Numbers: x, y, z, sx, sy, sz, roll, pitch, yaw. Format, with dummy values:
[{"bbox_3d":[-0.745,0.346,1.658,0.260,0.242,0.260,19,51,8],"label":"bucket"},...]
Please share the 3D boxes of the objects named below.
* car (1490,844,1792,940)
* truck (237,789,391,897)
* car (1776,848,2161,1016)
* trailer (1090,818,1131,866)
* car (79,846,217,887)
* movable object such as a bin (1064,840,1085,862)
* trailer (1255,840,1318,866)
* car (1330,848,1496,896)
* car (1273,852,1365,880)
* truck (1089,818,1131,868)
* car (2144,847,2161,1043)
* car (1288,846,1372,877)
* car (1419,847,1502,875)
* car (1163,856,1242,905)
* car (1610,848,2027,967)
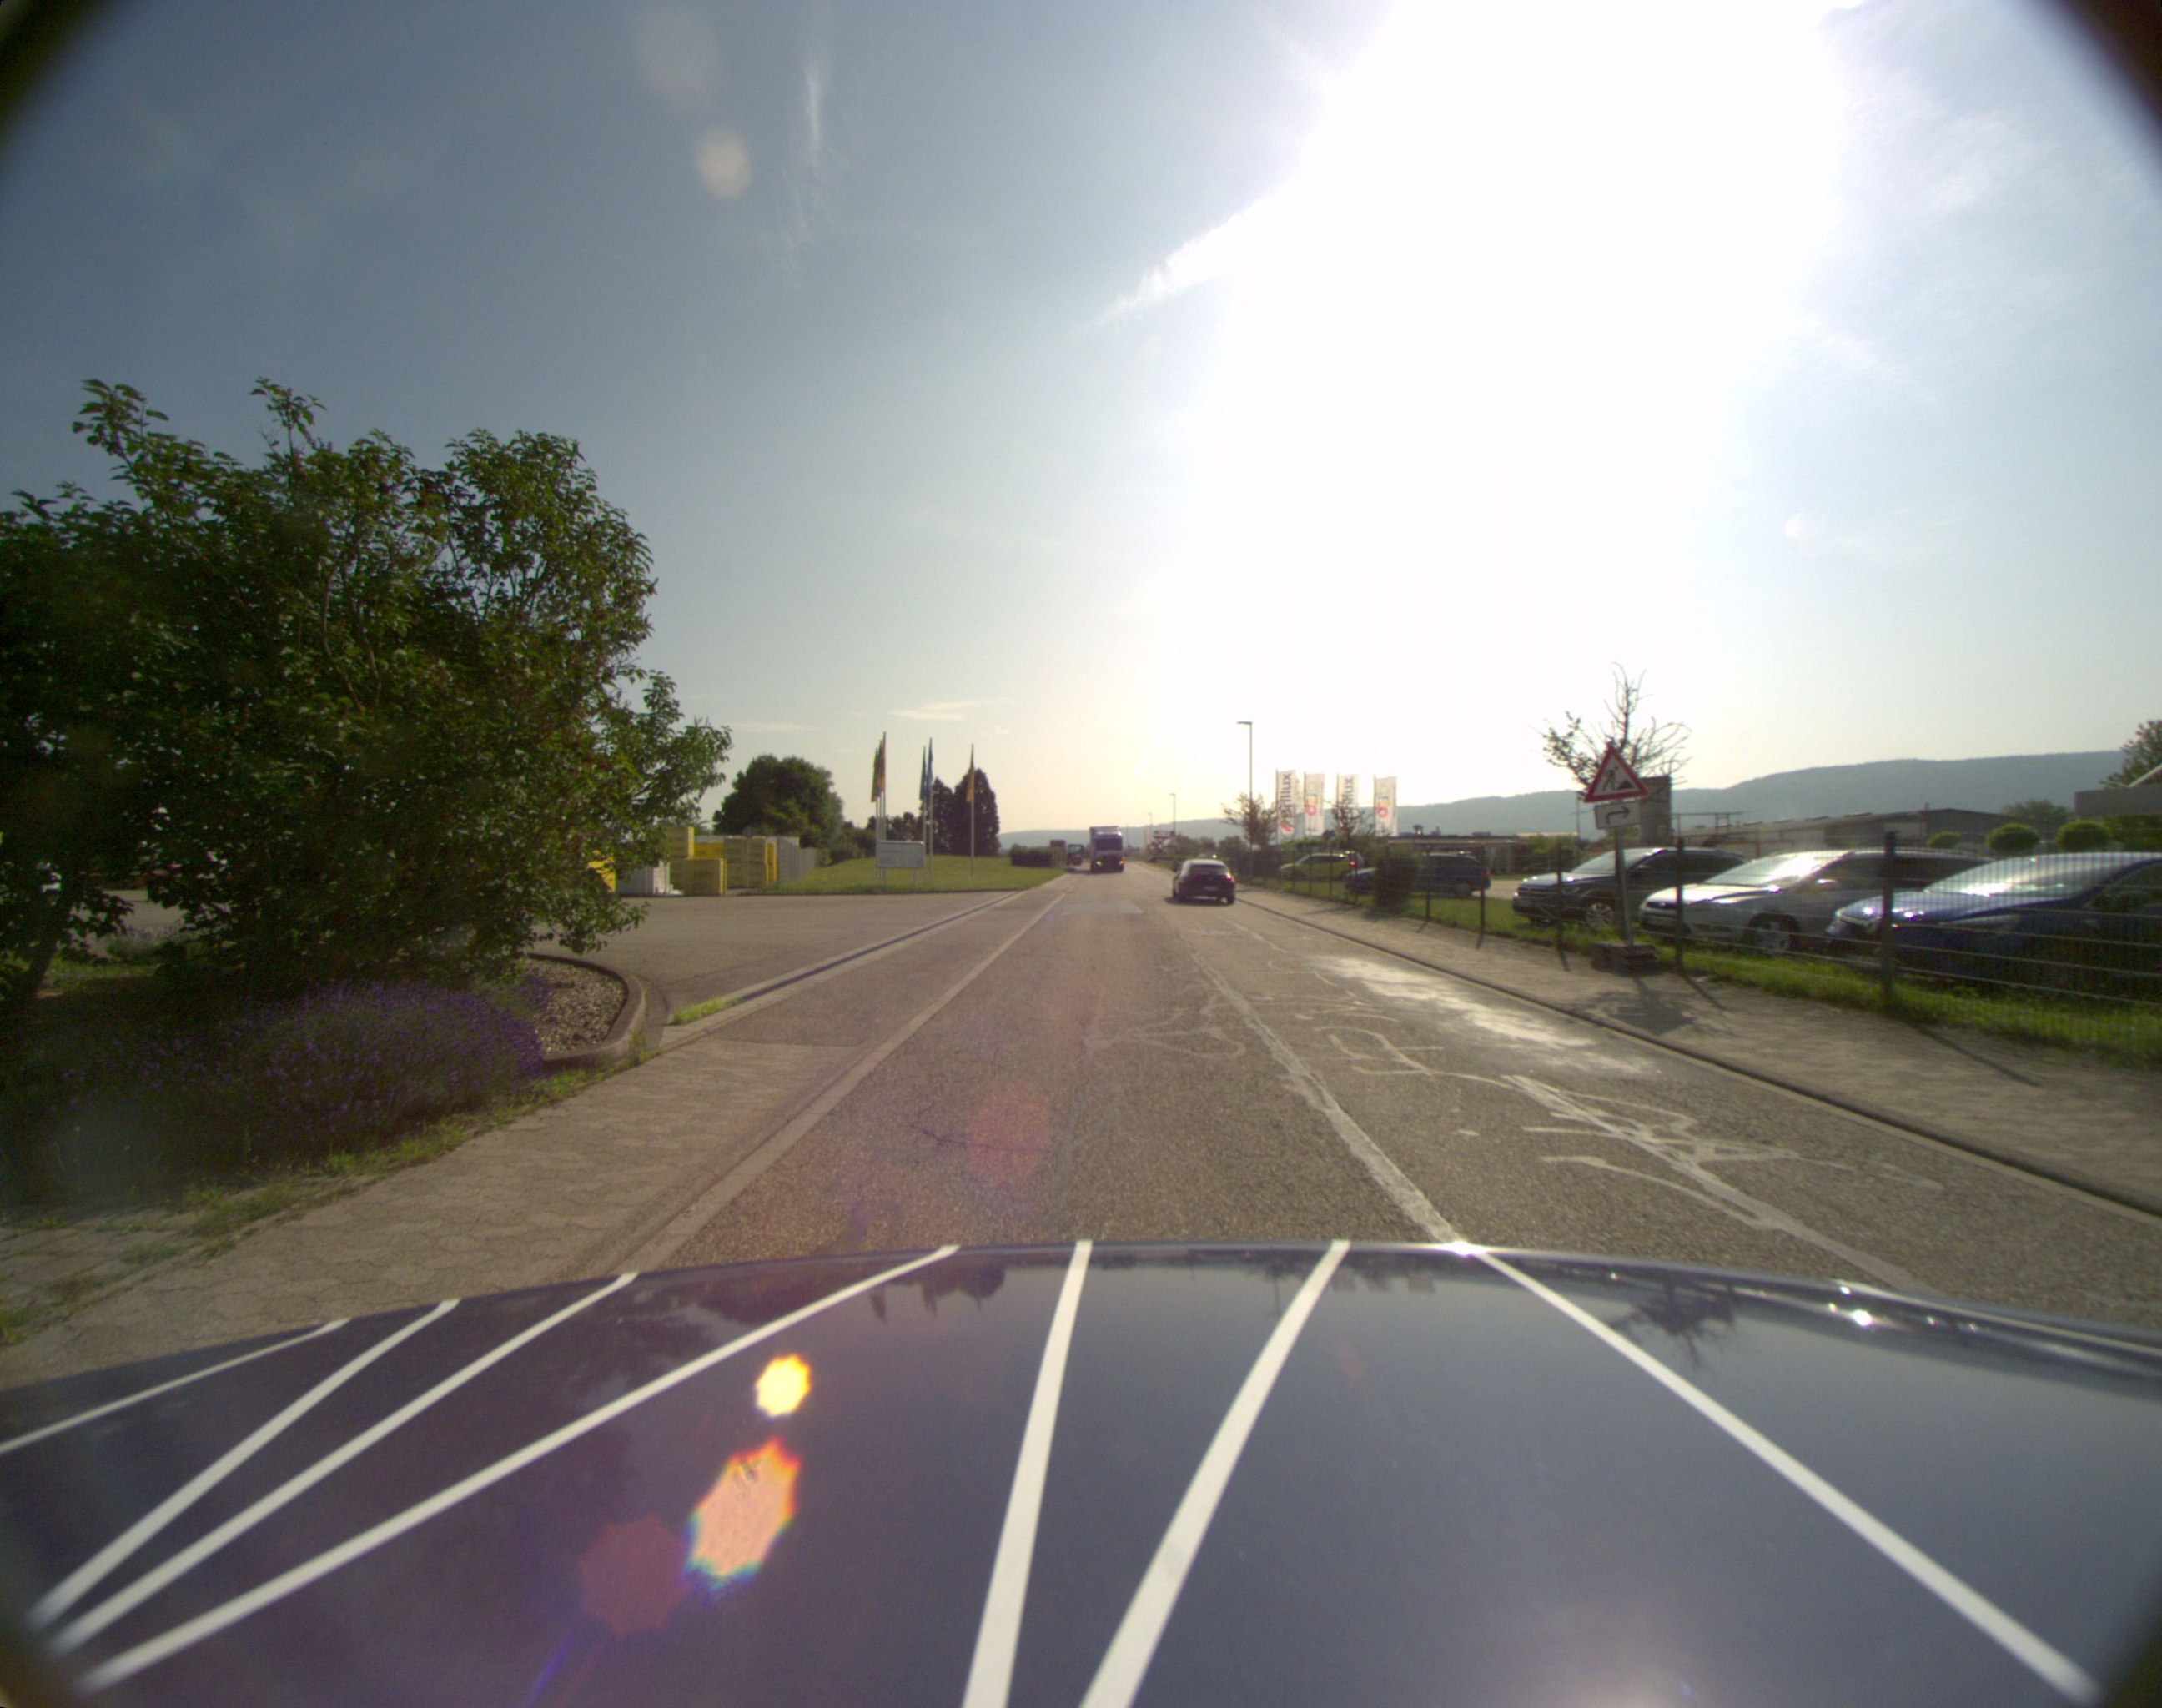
[{"bbox_3d":[10.169,0.652,14.064,4.137,1.558,1.865,2,0,1],"label":"car"},{"bbox_3d":[-29.611,-0.432,29.568,2.548,3.854,3.993,-3,1,-20],"label":"truck"},{"bbox_3d":[9.904,0.716,7.632,4.050,1.436,1.874,2,0,1],"label":"car"},{"bbox_3d":[3.048,-1.199,74.940,3.496,4.183,14.234,-2,1,4],"label":"trailer"},{"bbox_3d":[-47.800,0.622,39.052,4.004,2.002,1.996,1,0,-19],"label":"car"},{"bbox_3d":[-0.969,-0.461,107.195,2.435,2.994,5.751,1,0,-5],"label":"movable object such as a bin"},{"bbox_3d":[21.758,-0.145,80.583,6.314,2.590,2.858,1,1,16],"label":"trailer"},{"bbox_3d":[11.129,0.595,25.752,4.697,1.435,2.078,2,0,1],"label":"car"},{"bbox_3d":[12.208,0.612,39.213,4.173,1.360,1.869,0,1,3],"label":"car"},{"bbox_3d":[2.592,-0.982,68.004,3.394,4.183,6.098,-2,1,2],"label":"truck"},{"bbox_3d":[9.927,0.725,4.660,4.050,1.436,1.874,2,0,1],"label":"car"},{"bbox_3d":[14.793,0.447,45.320,1.961,1.686,4.500,-3,1,-34],"label":"car"},{"bbox_3d":[24.211,0.424,48.667,4.653,1.742,2.155,0,1,23],"label":"car"},{"bbox_3d":[4.069,0.843,26.130,1.998,1.441,4.419,2,0,1],"label":"car"},{"bbox_3d":[10.287,0.694,10.879,4.050,1.436,1.874,2,0,1],"label":"car"}]
